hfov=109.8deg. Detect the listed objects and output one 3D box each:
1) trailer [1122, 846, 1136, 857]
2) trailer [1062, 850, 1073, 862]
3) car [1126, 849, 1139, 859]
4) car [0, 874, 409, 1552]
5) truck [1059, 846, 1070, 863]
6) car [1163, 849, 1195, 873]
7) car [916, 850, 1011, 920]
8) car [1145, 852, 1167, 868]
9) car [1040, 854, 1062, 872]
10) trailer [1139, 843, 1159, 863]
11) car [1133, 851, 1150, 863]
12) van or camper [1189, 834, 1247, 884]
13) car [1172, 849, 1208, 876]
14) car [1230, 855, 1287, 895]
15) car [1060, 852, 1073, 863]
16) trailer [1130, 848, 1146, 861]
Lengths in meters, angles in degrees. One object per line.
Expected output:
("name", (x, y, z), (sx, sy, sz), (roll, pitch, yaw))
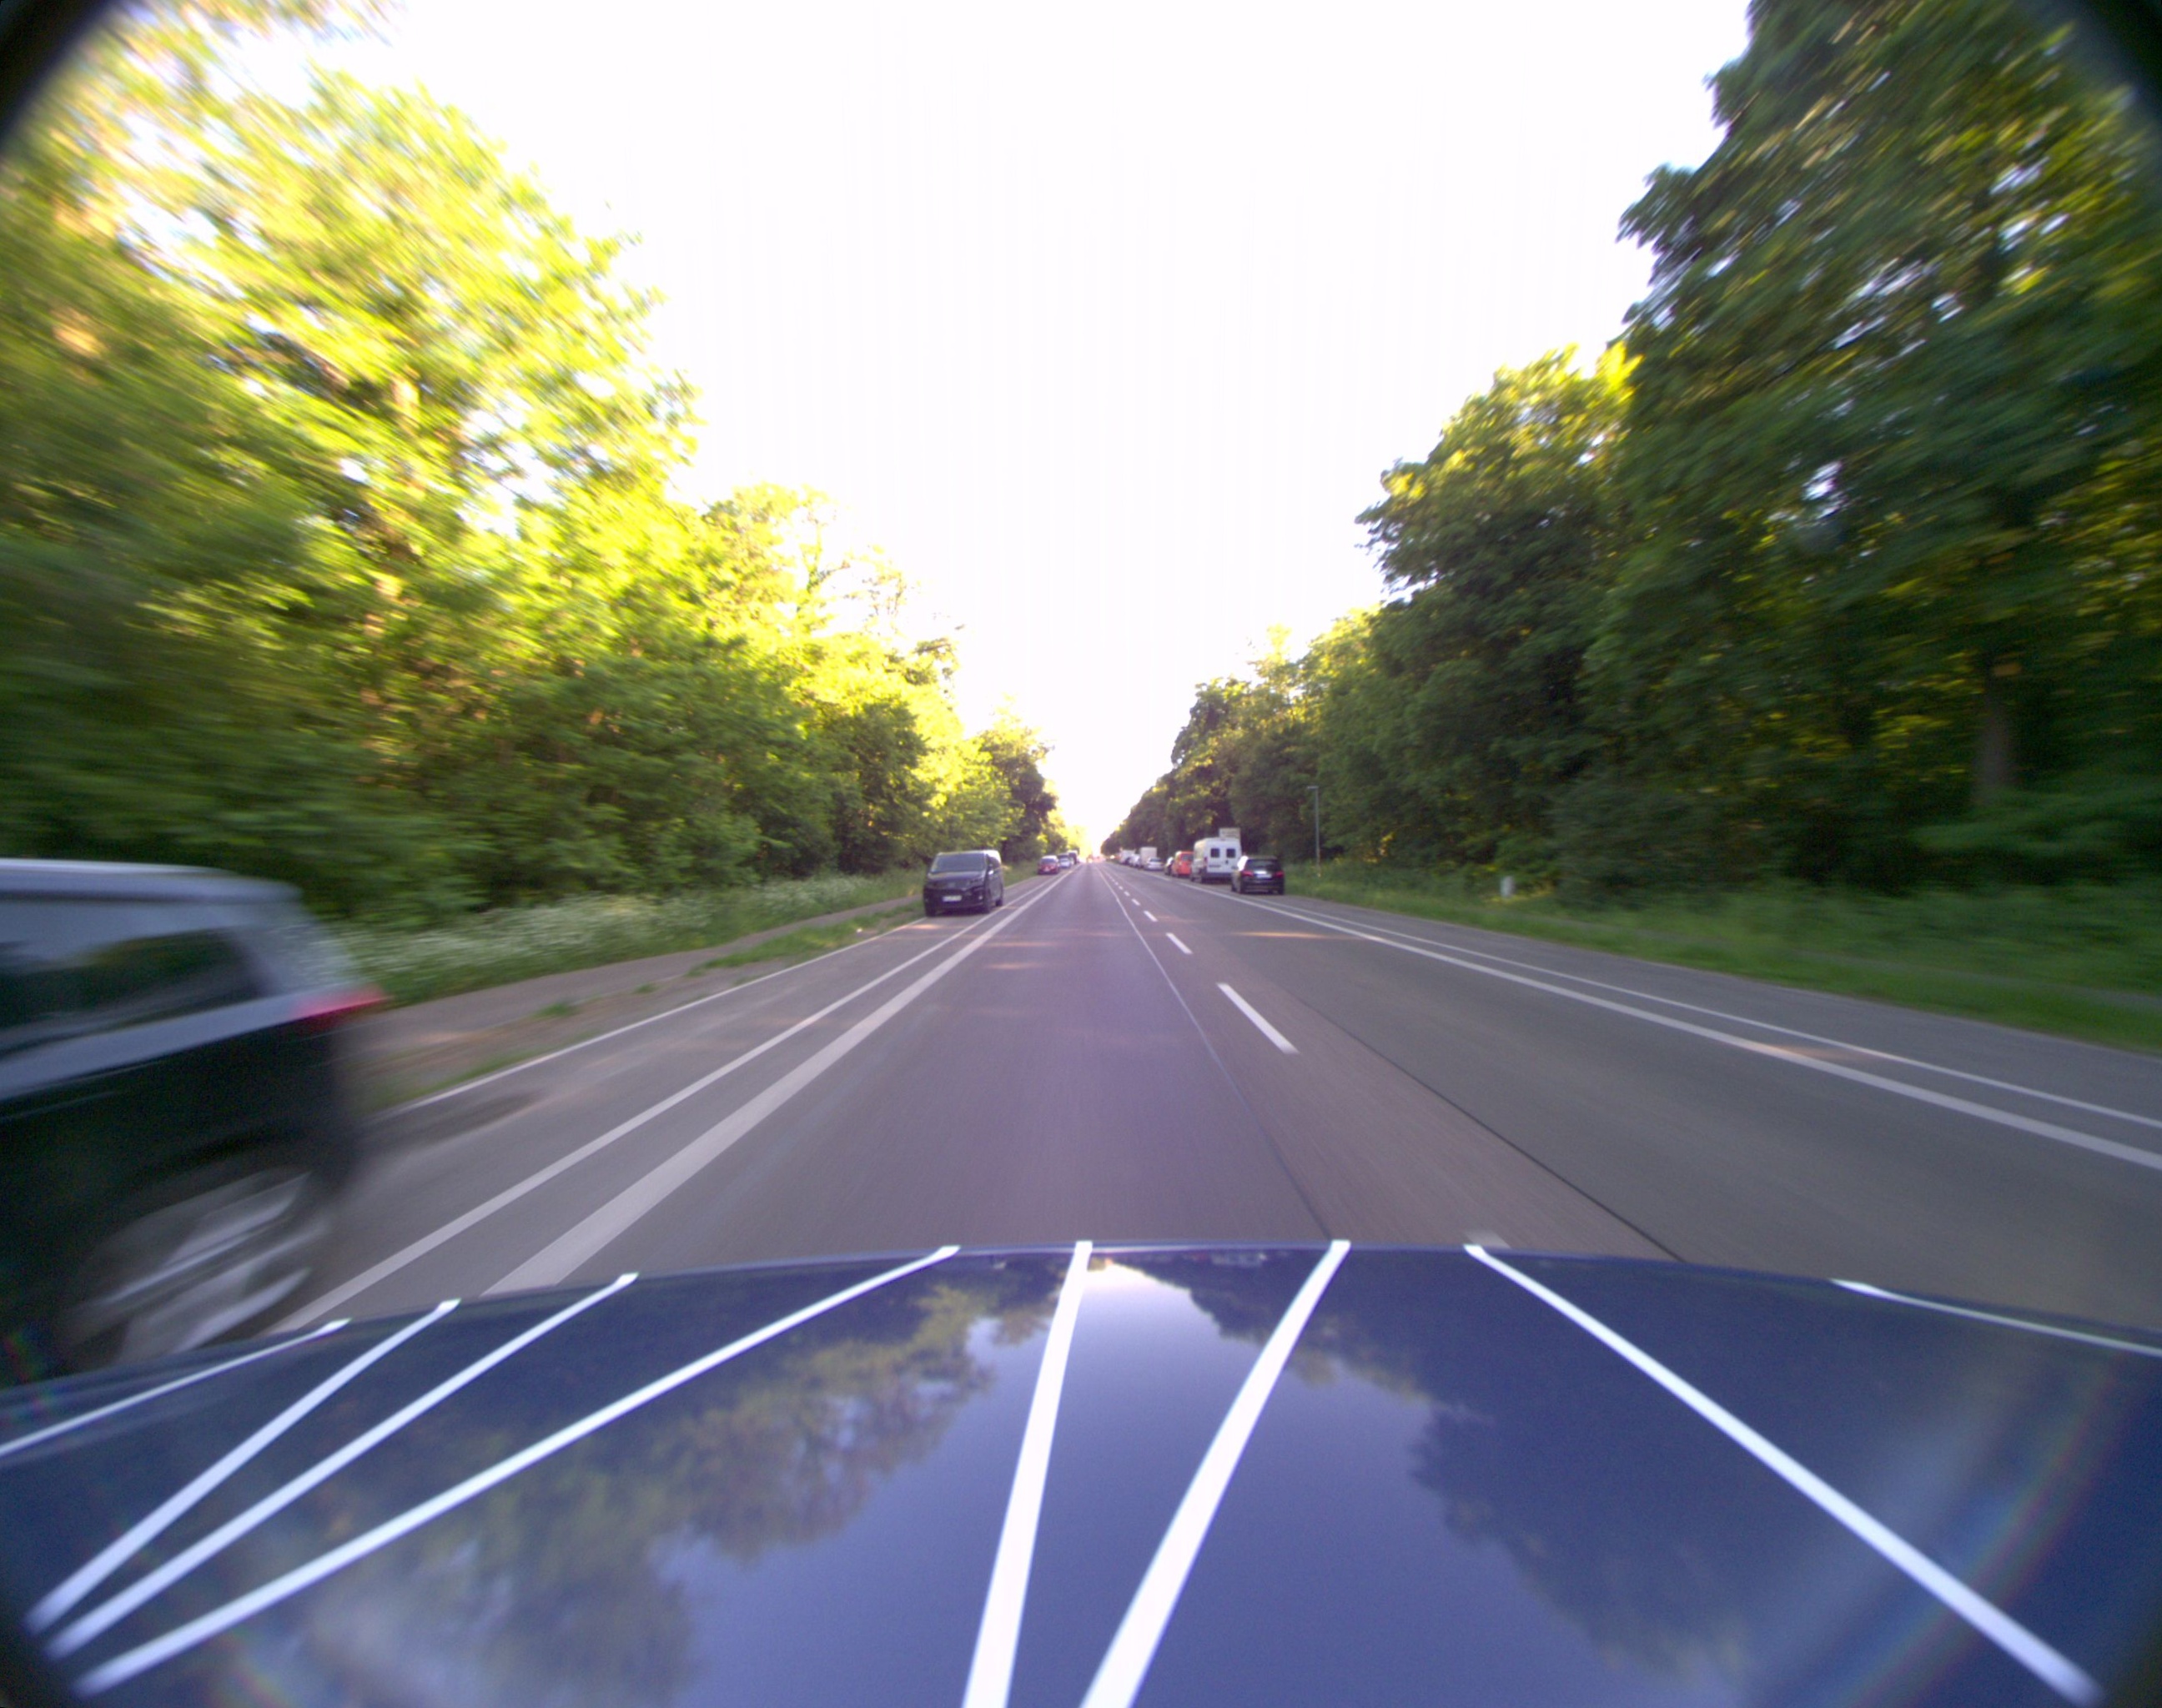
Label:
("trailer", (8.995, -0.513, 143.541), (2.306, 1.972, 3.999), (-2, 1, 1))
("trailer", (-2.563, 0.360, 145.430), (1.998, 2.002, 3.999), (-2, 1, 1))
("car", (9.168, -0.019, 136.166), (1.998, 1.620, 4.144), (-2, 0, 1))
("car", (-3.693, 0.982, 0.775), (1.804, 1.681, 4.601), (-2, 1, 1))
("truck", (-2.691, 0.093, 123.649), (1.670, 2.755, 4.000), (-2, 0, 1))
("car", (7.777, 0.522, 60.468), (1.998, 1.797, 4.144), (-2, 0, 1))
("car", (-3.534, 0.850, 23.890), (1.998, 1.888, 5.473), (-2, 0, 1))
("car", (7.953, 0.646, 81.186), (1.998, 1.620, 4.144), (-2, 0, 1))
("car", (-2.814, 0.849, 72.307), (1.837, 1.608, 4.000), (-2, 0, 1))
("trailer", (7.858, -0.169, 88.159), (1.998, 2.227, 3.999), (-2, 1, 1))
("car", (8.244, 0.387, 103.219), (1.998, 1.620, 4.144), (-2, 0, 1))
("van or camper", (7.715, 0.245, 43.390), (2.253, 2.599, 5.984), (-1, 0, 1))
("car", (7.705, 0.594, 54.203), (1.998, 1.797, 4.144), (-2, 0, 1))
("car", (7.232, 0.808, 31.289), (1.787, 1.485, 4.001), (0, 0, 5))
("car", (-2.288, 0.569, 117.352), (1.837, 1.608, 4.000), (-2, 0, 1))
("trailer", (8.235, 0.102, 109.961), (1.998, 1.776, 4.000), (-2, 1, 1))
